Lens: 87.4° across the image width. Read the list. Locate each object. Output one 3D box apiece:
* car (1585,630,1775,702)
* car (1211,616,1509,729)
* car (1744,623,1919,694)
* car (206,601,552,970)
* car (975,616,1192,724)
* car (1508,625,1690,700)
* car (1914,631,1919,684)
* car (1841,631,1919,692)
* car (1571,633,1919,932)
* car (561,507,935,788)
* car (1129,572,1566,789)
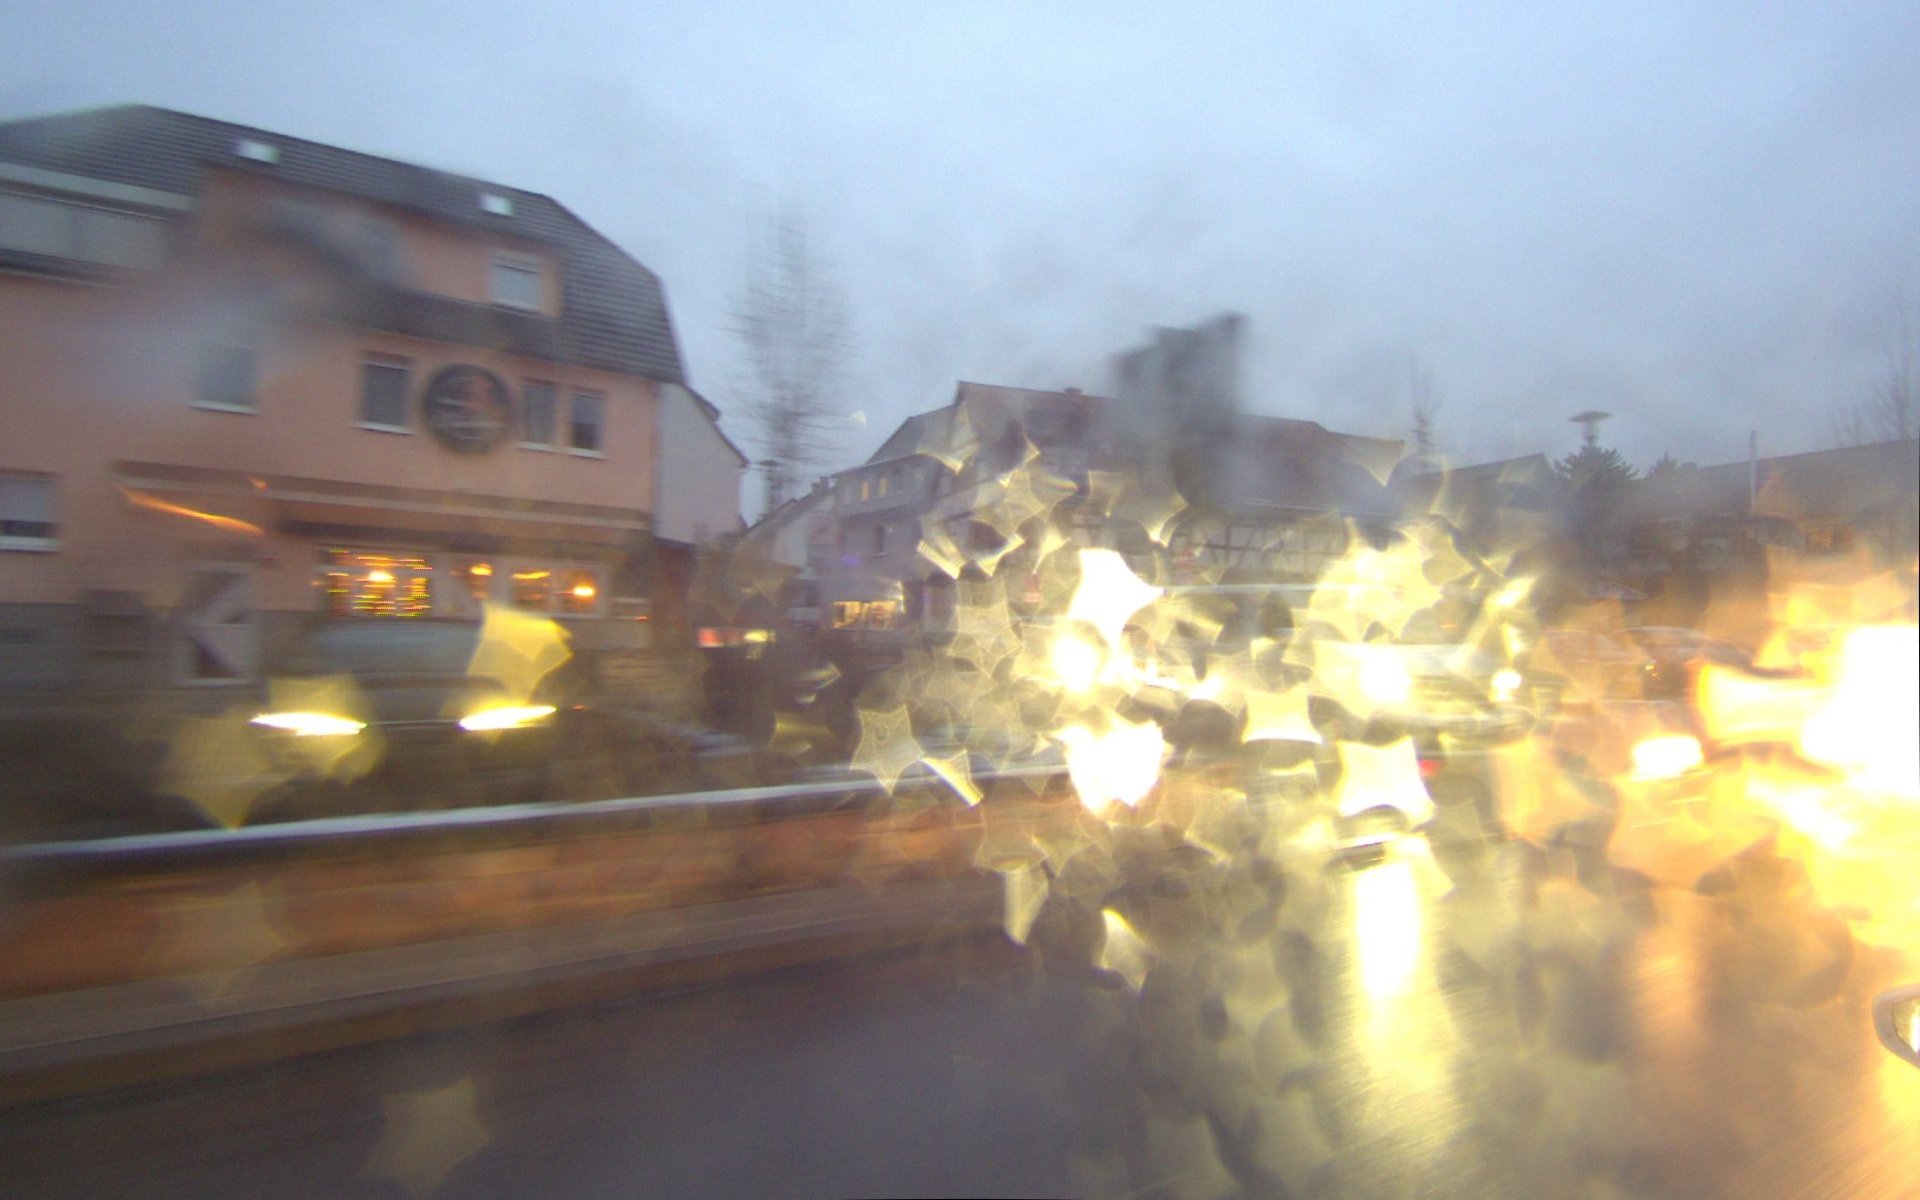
[{"bbox_3d":[16.404,1.451,23.172,1.722,1.478,4.077,1,-2,5],"label":"car"},{"bbox_3d":[6.619,1.135,17.146,2.129,1.653,4.417,2,-2,-28],"label":"car"},{"bbox_3d":[23.160,1.505,26.468,1.947,1.675,4.660,1,-2,10],"label":"car"},{"bbox_3d":[-4.267,1.108,7.593,1.728,1.977,4.011,0,-3,-29],"label":"car"},{"bbox_3d":[2.027,1.224,18.143,1.969,1.657,4.750,0,-3,-19],"label":"car"},{"bbox_3d":[13.691,1.316,21.813,1.727,1.478,3.937,-1,-2,6],"label":"car"},{"bbox_3d":[28.746,1.655,27.574,1.960,1.550,4.002,0,-1,14],"label":"car"},{"bbox_3d":[26.283,1.666,27.219,1.686,1.603,4.117,0,-3,10],"label":"car"},{"bbox_3d":[5.977,0.973,6.734,3.794,1.499,1.612,1,-3,-31],"label":"car"},{"bbox_3d":[-1.991,0.352,8.336,1.976,1.706,3.970,1,-2,-29],"label":"car"},{"bbox_3d":[4.158,0.754,12.195,1.958,1.972,5.762,0,0,-15],"label":"car"}]
